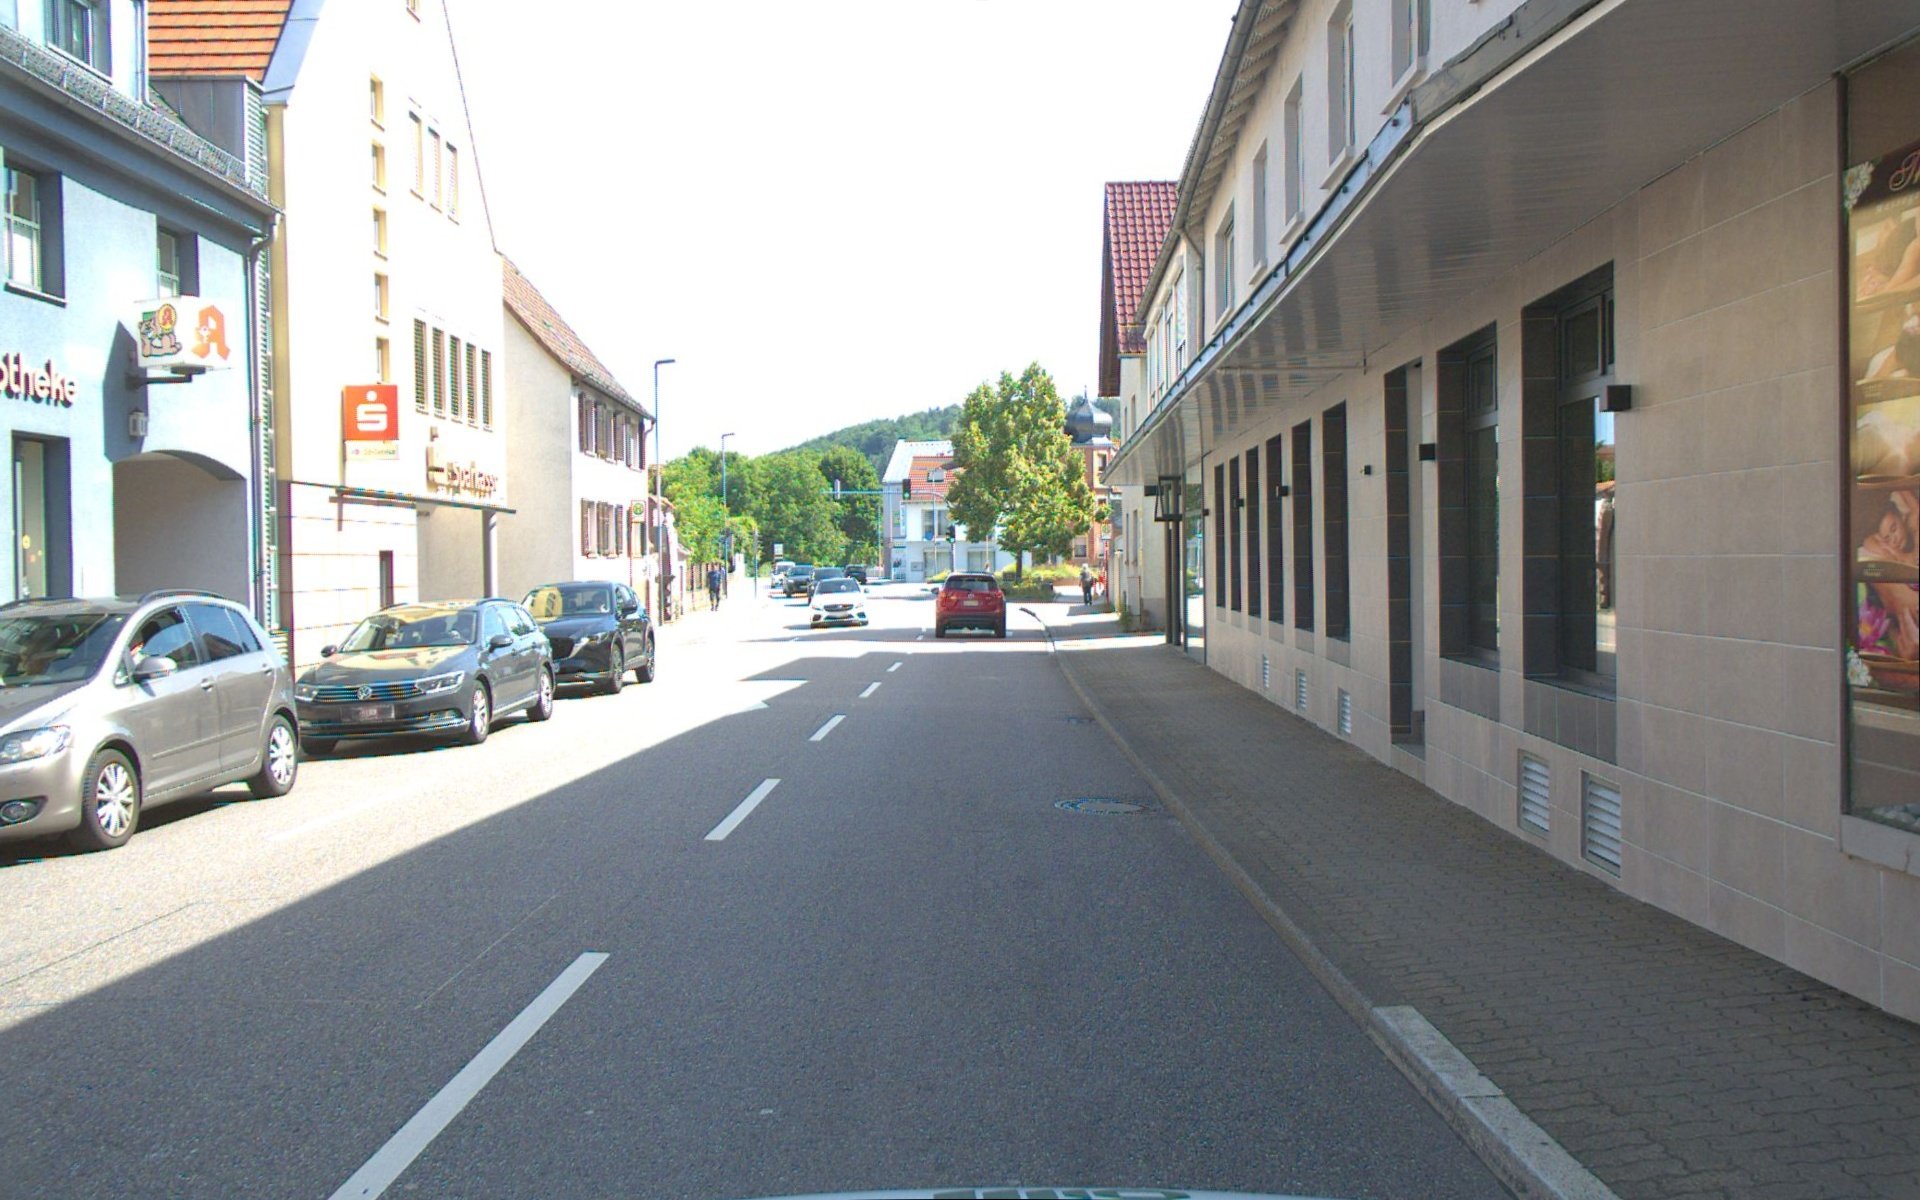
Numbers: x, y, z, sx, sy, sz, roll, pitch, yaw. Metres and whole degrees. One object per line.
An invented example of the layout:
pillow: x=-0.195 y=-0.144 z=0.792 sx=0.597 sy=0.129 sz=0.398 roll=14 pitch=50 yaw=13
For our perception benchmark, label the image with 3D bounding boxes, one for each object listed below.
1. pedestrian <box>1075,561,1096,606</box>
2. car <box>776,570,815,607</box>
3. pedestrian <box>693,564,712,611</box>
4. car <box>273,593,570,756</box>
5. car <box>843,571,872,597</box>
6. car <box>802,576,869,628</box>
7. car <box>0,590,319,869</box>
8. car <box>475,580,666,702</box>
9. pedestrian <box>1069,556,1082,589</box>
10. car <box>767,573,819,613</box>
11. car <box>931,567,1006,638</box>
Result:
pedestrian: x=4.868 y=-0.637 z=64.244 sx=0.630 sy=1.737 sz=0.699 roll=-2 pitch=-2 yaw=-6
car: x=-8.821 y=-0.574 z=88.853 sx=1.739 sy=1.816 sz=3.837 roll=-2 pitch=-1 yaw=-1
pedestrian: x=-10.457 y=-0.514 z=67.188 sx=0.652 sy=1.856 sz=0.798 roll=-2 pitch=-2 yaw=-6
car: x=-5.685 y=0.706 z=18.078 sx=1.752 sy=1.476 sz=4.424 roll=-3 pitch=0 yaw=0
car: x=-8.063 y=-1.252 z=130.659 sx=1.892 sy=1.825 sz=3.956 roll=-2 pitch=-1 yaw=1
car: x=-3.970 y=0.046 z=52.104 sx=1.949 sy=1.469 sz=5.095 roll=-2 pitch=0 yaw=-6
car: x=-5.971 y=0.746 z=11.267 sx=1.596 sy=1.546 sz=4.019 roll=-3 pitch=0 yaw=0
car: x=-5.870 y=0.560 z=25.474 sx=1.829 sy=1.617 sz=4.518 roll=-3 pitch=0 yaw=0
pedestrian: x=6.794 y=-1.617 z=97.096 sx=0.630 sy=1.912 sz=0.651 roll=-2 pitch=-2 yaw=-6
car: x=-7.437 y=-0.347 z=74.010 sx=1.801 sy=1.559 sz=4.254 roll=-2 pitch=2 yaw=1
car: x=0.263 y=0.038 z=43.124 sx=1.820 sy=1.744 sz=4.423 roll=0 pitch=1 yaw=2
